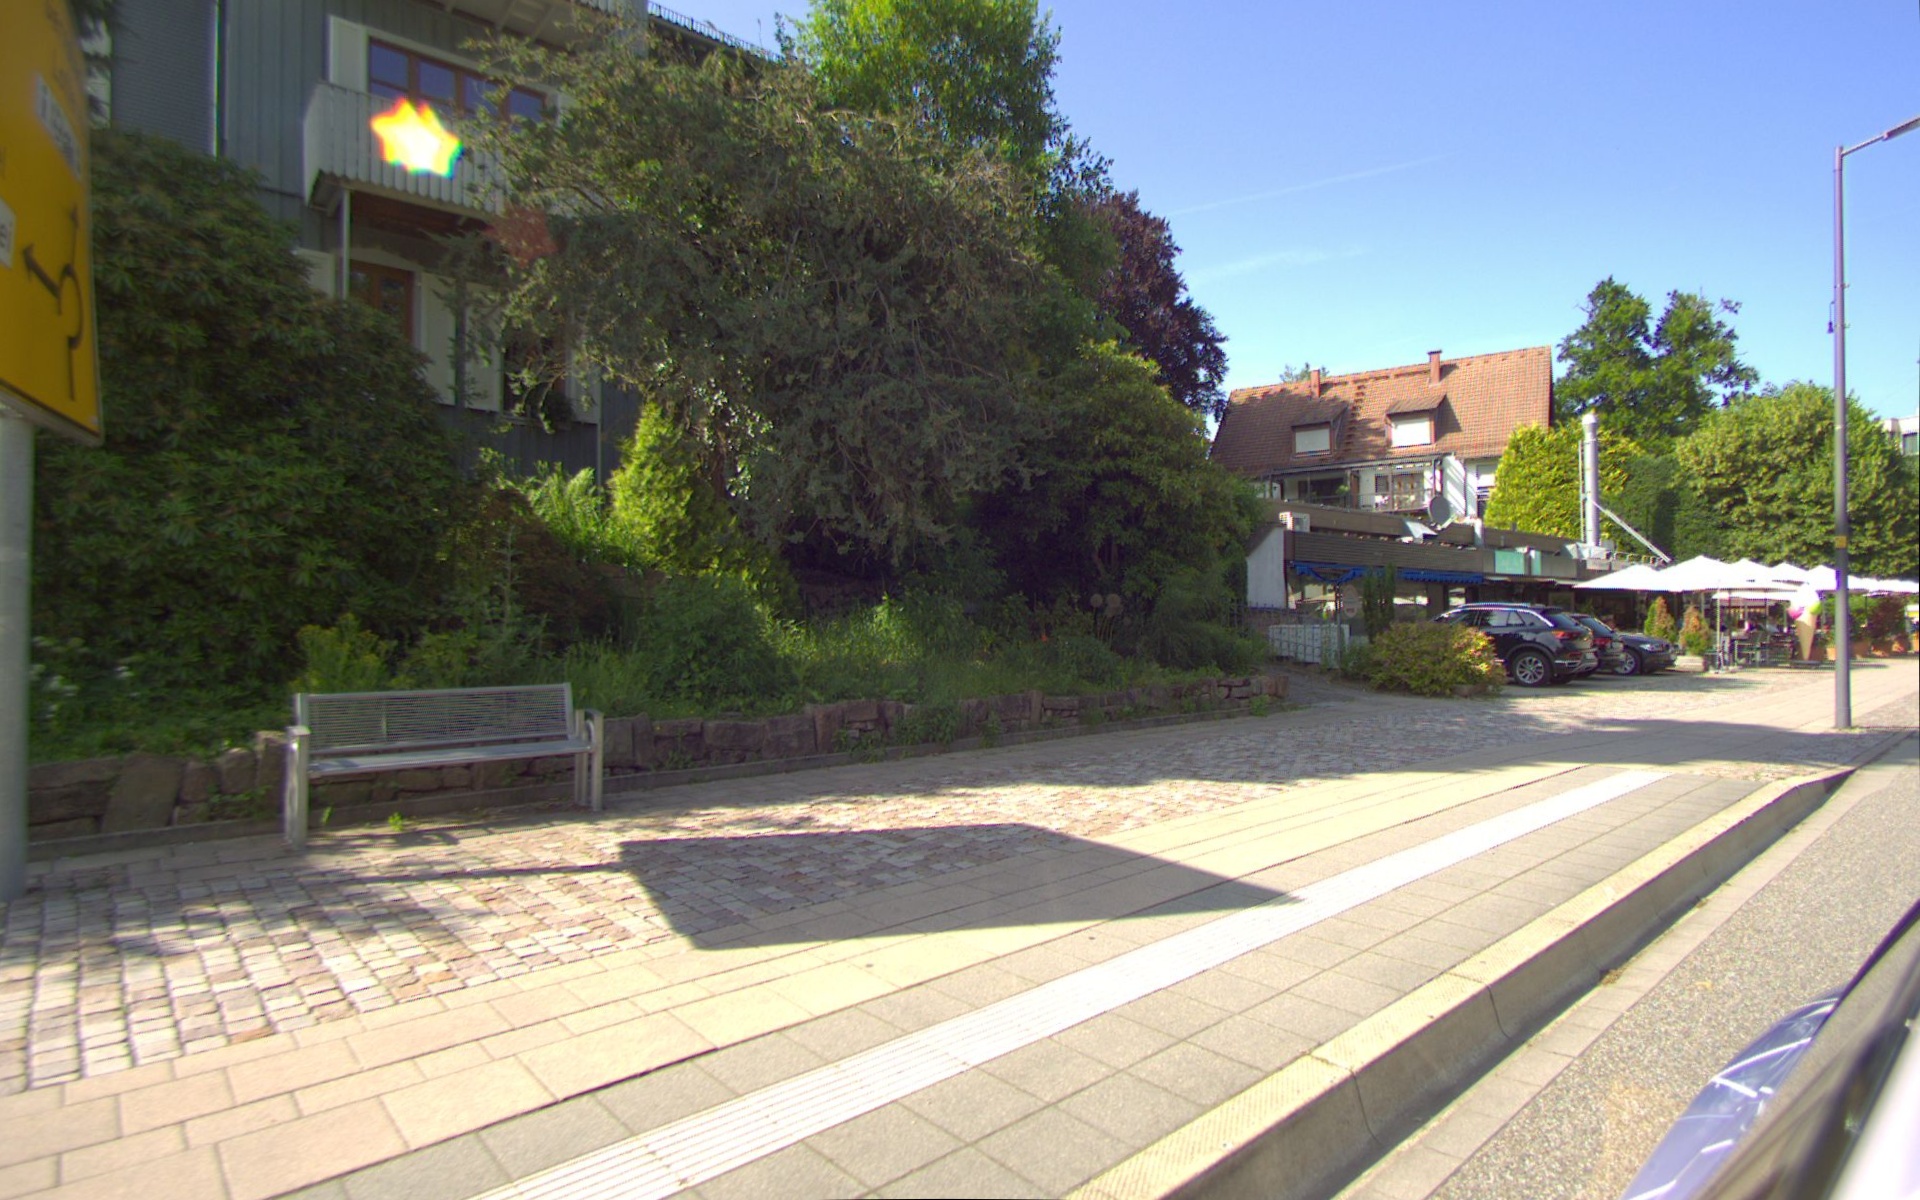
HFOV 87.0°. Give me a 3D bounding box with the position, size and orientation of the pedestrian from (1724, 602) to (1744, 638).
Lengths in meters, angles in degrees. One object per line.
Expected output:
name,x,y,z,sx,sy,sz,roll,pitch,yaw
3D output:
pedestrian,27.990,0.731,36.597,0.498,1.284,0.410,1,-1,-29

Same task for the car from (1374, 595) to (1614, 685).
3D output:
car,10.499,0.739,20.075,1.719,1.600,3.878,1,-1,-43

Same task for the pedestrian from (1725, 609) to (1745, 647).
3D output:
pedestrian,27.012,0.972,35.271,0.433,1.281,0.469,1,-1,-43

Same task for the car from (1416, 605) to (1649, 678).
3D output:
car,12.446,0.843,22.236,1.717,1.433,4.118,0,-1,-39

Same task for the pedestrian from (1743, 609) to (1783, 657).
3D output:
pedestrian,21.630,0.870,27.252,0.809,1.277,0.690,-1,-1,42

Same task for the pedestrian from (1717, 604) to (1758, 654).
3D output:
pedestrian,22.083,0.808,28.760,0.692,1.399,0.807,0,-1,20

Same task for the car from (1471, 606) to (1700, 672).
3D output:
car,14.575,0.863,23.786,1.678,1.396,4.271,0,-1,-39

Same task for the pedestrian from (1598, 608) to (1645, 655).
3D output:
pedestrian,17.983,0.847,27.515,0.795,1.277,0.702,0,-1,-14

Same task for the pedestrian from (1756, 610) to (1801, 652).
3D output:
pedestrian,25.012,0.936,30.926,0.686,1.277,0.814,0,-1,-21

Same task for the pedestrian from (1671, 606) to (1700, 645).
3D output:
pedestrian,24.801,0.858,34.601,0.629,1.321,0.578,0,0,14

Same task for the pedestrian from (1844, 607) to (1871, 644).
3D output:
pedestrian,32.298,0.903,36.421,0.634,1.300,0.648,1,-1,-41

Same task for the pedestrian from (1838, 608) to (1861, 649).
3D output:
pedestrian,28.004,0.883,31.869,0.470,1.261,0.586,0,0,34

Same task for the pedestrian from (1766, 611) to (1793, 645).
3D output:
pedestrian,30.473,1.040,37.633,0.685,1.247,0.509,1,-1,-20

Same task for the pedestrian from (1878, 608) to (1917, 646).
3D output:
pedestrian,32.853,0.933,35.452,0.634,1.300,0.949,1,-1,-41
